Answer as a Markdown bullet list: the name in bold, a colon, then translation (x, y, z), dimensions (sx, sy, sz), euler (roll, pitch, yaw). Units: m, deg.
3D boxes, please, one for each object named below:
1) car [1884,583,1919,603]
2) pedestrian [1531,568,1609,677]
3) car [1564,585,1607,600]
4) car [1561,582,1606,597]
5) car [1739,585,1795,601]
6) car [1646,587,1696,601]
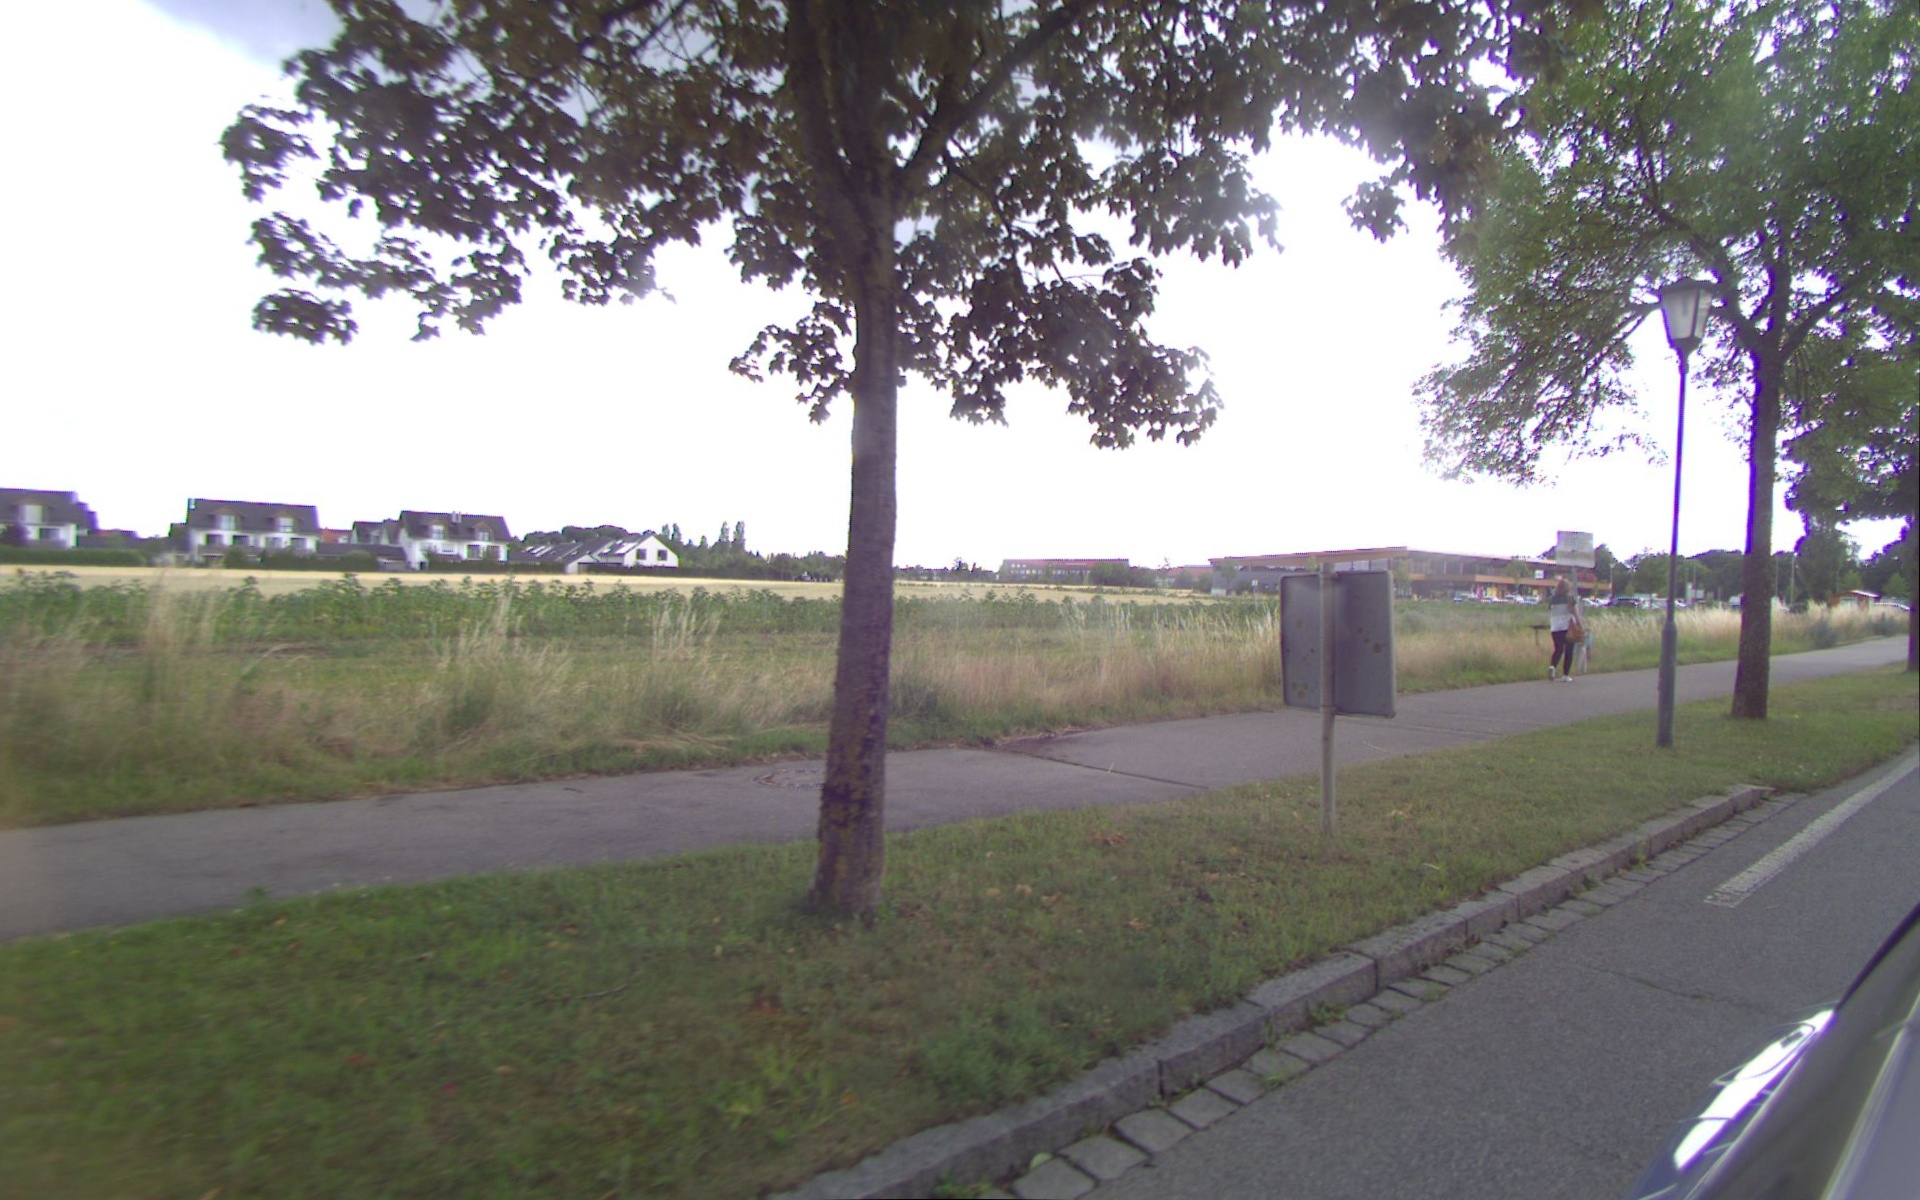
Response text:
- **car**: translation (97.806, -0.728, 102.958), dimensions (1.967, 2.039, 5.513), euler (0, 0, -44)
- **pedestrian**: translation (10.272, 0.361, 17.052), dimensions (0.853, 1.777, 0.840), euler (0, 1, -34)
- **car**: translation (87.862, -1.013, 142.227), dimensions (4.843, 2.039, 1.968), euler (0, 0, 44)
- **car**: translation (84.208, -1.391, 136.763), dimensions (4.843, 2.039, 1.968), euler (0, 0, 44)
- **car**: translation (104.993, -0.940, 131.780), dimensions (1.967, 2.039, 5.513), euler (0, 0, -44)
- **car**: translation (101.243, -0.856, 144.151), dimensions (1.967, 2.039, 5.513), euler (0, 0, -44)
